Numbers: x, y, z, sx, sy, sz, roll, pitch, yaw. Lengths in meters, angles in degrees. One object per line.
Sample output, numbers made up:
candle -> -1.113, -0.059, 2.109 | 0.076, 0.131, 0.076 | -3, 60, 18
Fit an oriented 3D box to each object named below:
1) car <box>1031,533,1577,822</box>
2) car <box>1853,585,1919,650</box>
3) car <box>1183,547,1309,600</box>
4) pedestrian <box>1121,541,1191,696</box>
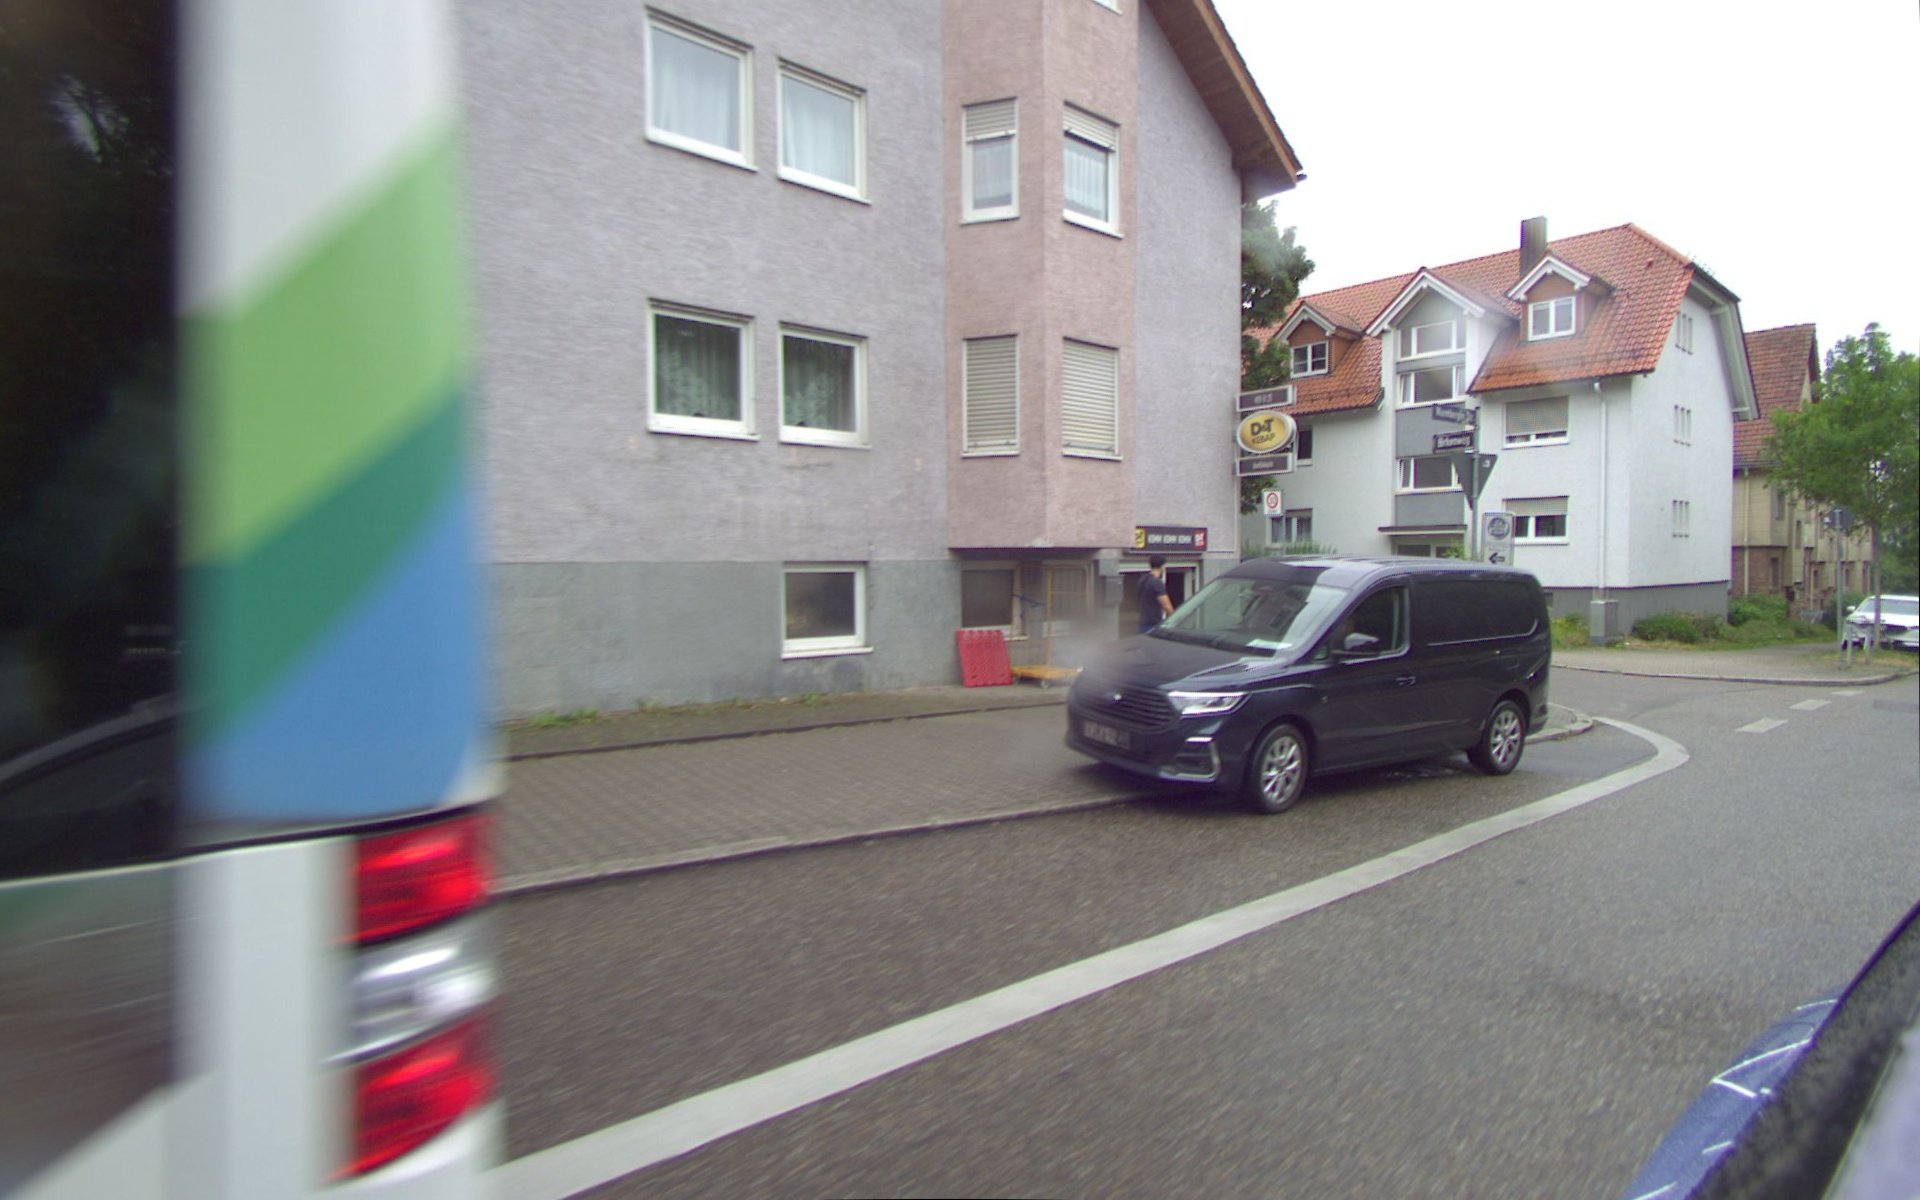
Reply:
car -> 3.008, 0.437, 8.497 | 4.594, 1.829, 1.852 | 0, 4, -33
car -> 26.708, 0.472, 28.435 | 4.406, 1.682, 1.925 | 1, 1, -42
car -> 8.003, -0.741, 28.245 | 3.464, 1.389, 1.647 | -1, 2, -38
pedestrian -> 2.373, 0.211, 12.243 | 0.566, 1.816, 0.619 | 0, 0, -40
